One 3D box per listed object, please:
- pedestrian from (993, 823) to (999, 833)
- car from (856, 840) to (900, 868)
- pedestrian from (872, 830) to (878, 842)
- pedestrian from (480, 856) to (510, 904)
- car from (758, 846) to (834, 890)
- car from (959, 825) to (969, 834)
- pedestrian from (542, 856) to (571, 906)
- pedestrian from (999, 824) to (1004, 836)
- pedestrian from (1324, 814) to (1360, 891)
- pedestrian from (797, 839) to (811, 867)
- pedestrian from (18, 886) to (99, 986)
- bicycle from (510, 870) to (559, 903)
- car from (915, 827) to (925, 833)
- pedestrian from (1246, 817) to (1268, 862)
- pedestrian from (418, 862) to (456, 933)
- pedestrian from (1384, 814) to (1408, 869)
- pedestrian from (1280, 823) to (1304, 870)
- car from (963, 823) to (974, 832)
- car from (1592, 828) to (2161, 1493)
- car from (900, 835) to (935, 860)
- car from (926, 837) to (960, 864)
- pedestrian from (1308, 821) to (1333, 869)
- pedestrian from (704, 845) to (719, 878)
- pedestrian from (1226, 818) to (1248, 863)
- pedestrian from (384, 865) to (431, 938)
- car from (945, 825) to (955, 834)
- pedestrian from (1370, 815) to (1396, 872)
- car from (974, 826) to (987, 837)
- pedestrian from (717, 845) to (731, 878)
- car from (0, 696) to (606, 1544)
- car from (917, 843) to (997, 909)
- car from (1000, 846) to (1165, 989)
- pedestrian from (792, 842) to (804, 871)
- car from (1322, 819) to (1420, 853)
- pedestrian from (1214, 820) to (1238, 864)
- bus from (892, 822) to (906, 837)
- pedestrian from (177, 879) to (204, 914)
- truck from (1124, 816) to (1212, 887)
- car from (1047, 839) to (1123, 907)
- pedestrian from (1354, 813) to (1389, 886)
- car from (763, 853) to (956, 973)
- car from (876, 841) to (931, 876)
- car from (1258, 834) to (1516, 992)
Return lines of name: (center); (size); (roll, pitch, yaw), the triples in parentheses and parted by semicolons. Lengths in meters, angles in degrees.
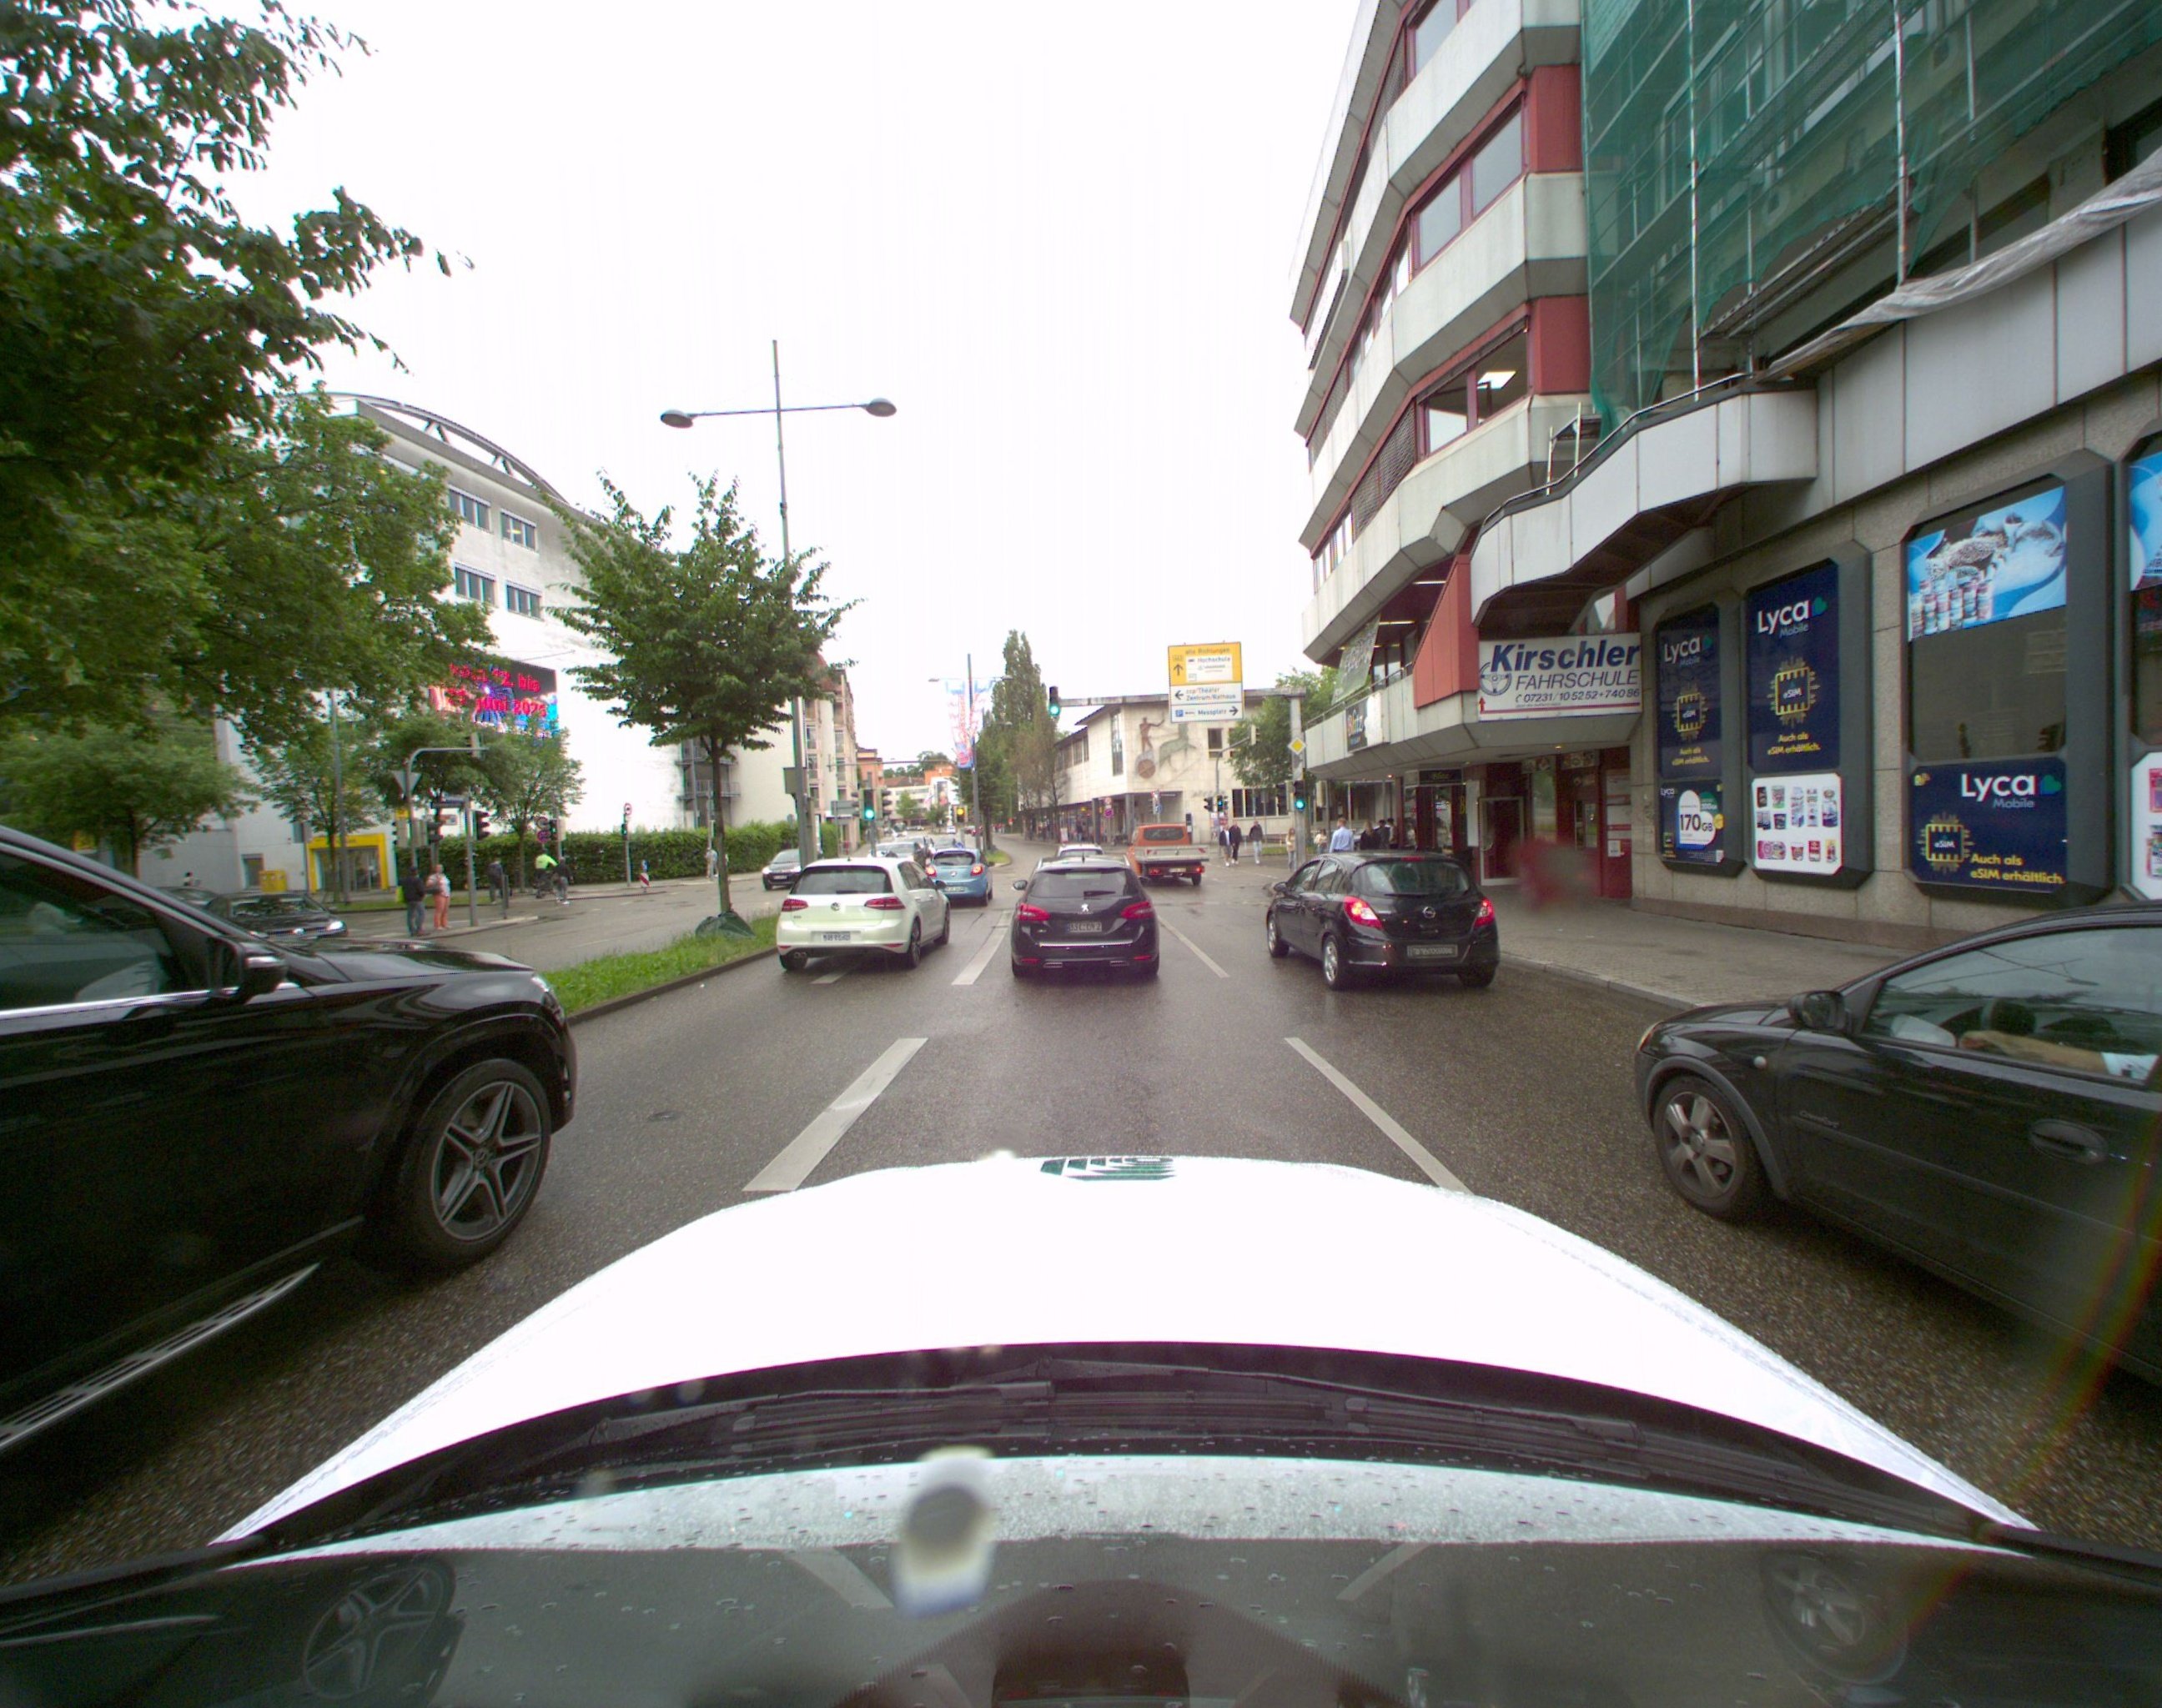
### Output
pedestrian: (-13.818, -4.207, 132.178); (0.718, 1.619, 0.766); (-5, 3, -13)
car: (-12.317, -0.037, 49.605); (1.667, 1.515, 3.643); (-4, 2, 0)
pedestrian: (-29.546, -2.580, 116.656); (0.698, 1.793, 0.955); (-2, 2, -10)
pedestrian: (-22.313, 0.990, 31.017); (0.644, 1.781, 0.799); (-4, -1, 45)
car: (-11.395, 0.523, 32.791); (1.614, 1.491, 3.878); (-5, 1, -1)
car: (-22.140, -4.537, 153.820); (1.646, 1.564, 3.584); (0, -1, -13)
pedestrian: (-19.027, 0.965, 29.555); (0.646, 1.764, 0.591); (-3, -1, -5)
pedestrian: (-12.339, -3.743, 126.406); (0.654, 1.766, 0.919); (-5, 3, -13)
pedestrian: (6.478, -0.034, 20.258); (0.619, 1.847, 0.849); (-2, 0, 6)
pedestrian: (-17.649, -0.077, 51.937); (0.640, 1.764, 0.591); (-3, -1, -4)
pedestrian: (-20.695, 1.629, 16.486); (0.816, 1.906, 0.866); (-3, -1, 30)
bicycle: (-21.497, 1.273, 32.074); (0.649, 1.110, 2.054); (-3, 2, -6)
car: (-50.086, -7.449, 252.636); (1.658, 1.564, 3.559); (0, -1, -37)
pedestrian: (7.671, -0.635, 35.556); (0.730, 1.895, 0.676); (-3, 0, -1)
pedestrian: (-17.010, 1.138, 21.522); (0.446, 1.837, 0.675); (-3, -1, -5)
pedestrian: (10.190, -0.408, 26.383); (0.524, 1.763, 0.511); (-2, 0, 0)
pedestrian: (7.868, -0.298, 30.349); (0.572, 1.663, 0.941); (-4, 2, 2)
car: (-19.763, -4.640, 143.213); (1.646, 1.564, 3.584); (0, -1, -13)
car: (3.260, 0.703, 2.187); (1.586, 1.440, 3.630); (-2, 2, 2)
car: (-12.295, -0.536, 61.505); (1.822, 1.736, 4.309); (-3, 1, -1)
car: (-8.944, -0.270, 52.947); (1.618, 1.555, 3.657); (-3, 2, -2)
pedestrian: (8.926, -0.354, 30.342); (0.586, 1.706, 0.971); (-4, 2, 2)
pedestrian: (-19.758, 0.396, 43.588); (0.525, 1.764, 0.592); (0, 2, -2)
pedestrian: (6.823, -0.603, 35.644); (0.756, 1.901, 0.789); (-3, 0, -1)
pedestrian: (-16.932, 1.179, 20.485); (0.673, 1.763, 0.412); (-3, 3, -4)
car: (-24.189, -4.550, 150.386); (1.646, 1.564, 3.584); (0, -1, -13)
pedestrian: (9.638, -0.334, 25.971); (0.593, 1.763, 0.493); (-2, 0, 0)
car: (-15.768, -3.575, 127.921); (1.646, 1.564, 3.584); (0, -1, -13)
pedestrian: (-19.149, 0.393, 43.673); (0.525, 1.764, 0.592); (0, 1, -3)
car: (-3.266, 0.562, 1.423); (1.987, 1.777, 4.885); (-1, -1, 0)
car: (-3.232, 0.520, 21.842); (1.691, 1.474, 3.687); (-2, 2, -3)
car: (0.077, 0.679, 10.971); (1.788, 1.483, 4.002); (-1, 1, 2)
pedestrian: (-17.502, 0.175, 50.388); (0.526, 1.764, 0.630); (-3, -1, -4)
car: (14.297, -0.916, 40.209); (4.265, 1.419, 1.780); (-3, 2, -14)
pedestrian: (6.157, -0.505, 34.615); (0.747, 1.779, 0.887); (-3, 0, -4)
bus: (-43.177, -5.791, 193.406); (2.749, 3.074, 12.180); (-3, 4, -14)
pedestrian: (-41.970, 1.990, 38.385); (0.554, 1.600, 0.529); (-3, 1, 5)
truck: (2.739, -0.130, 26.778); (2.117, 2.025, 4.712); (-3, 1, -2)
car: (0.035, 0.430, 21.852); (1.790, 1.483, 3.998); (-3, 2, -2)
pedestrian: (7.216, -0.113, 20.242); (0.619, 1.773, 0.678); (-2, 0, 6)
car: (-3.022, 0.723, 11.989); (1.760, 1.409, 3.999); (0, 1, -1)
car: (-8.437, 0.172, 39.089); (1.708, 1.478, 3.956); (-5, 1, -1)
car: (3.400, 0.531, 9.828); (1.702, 1.457, 3.742); (-1, 2, 0)
